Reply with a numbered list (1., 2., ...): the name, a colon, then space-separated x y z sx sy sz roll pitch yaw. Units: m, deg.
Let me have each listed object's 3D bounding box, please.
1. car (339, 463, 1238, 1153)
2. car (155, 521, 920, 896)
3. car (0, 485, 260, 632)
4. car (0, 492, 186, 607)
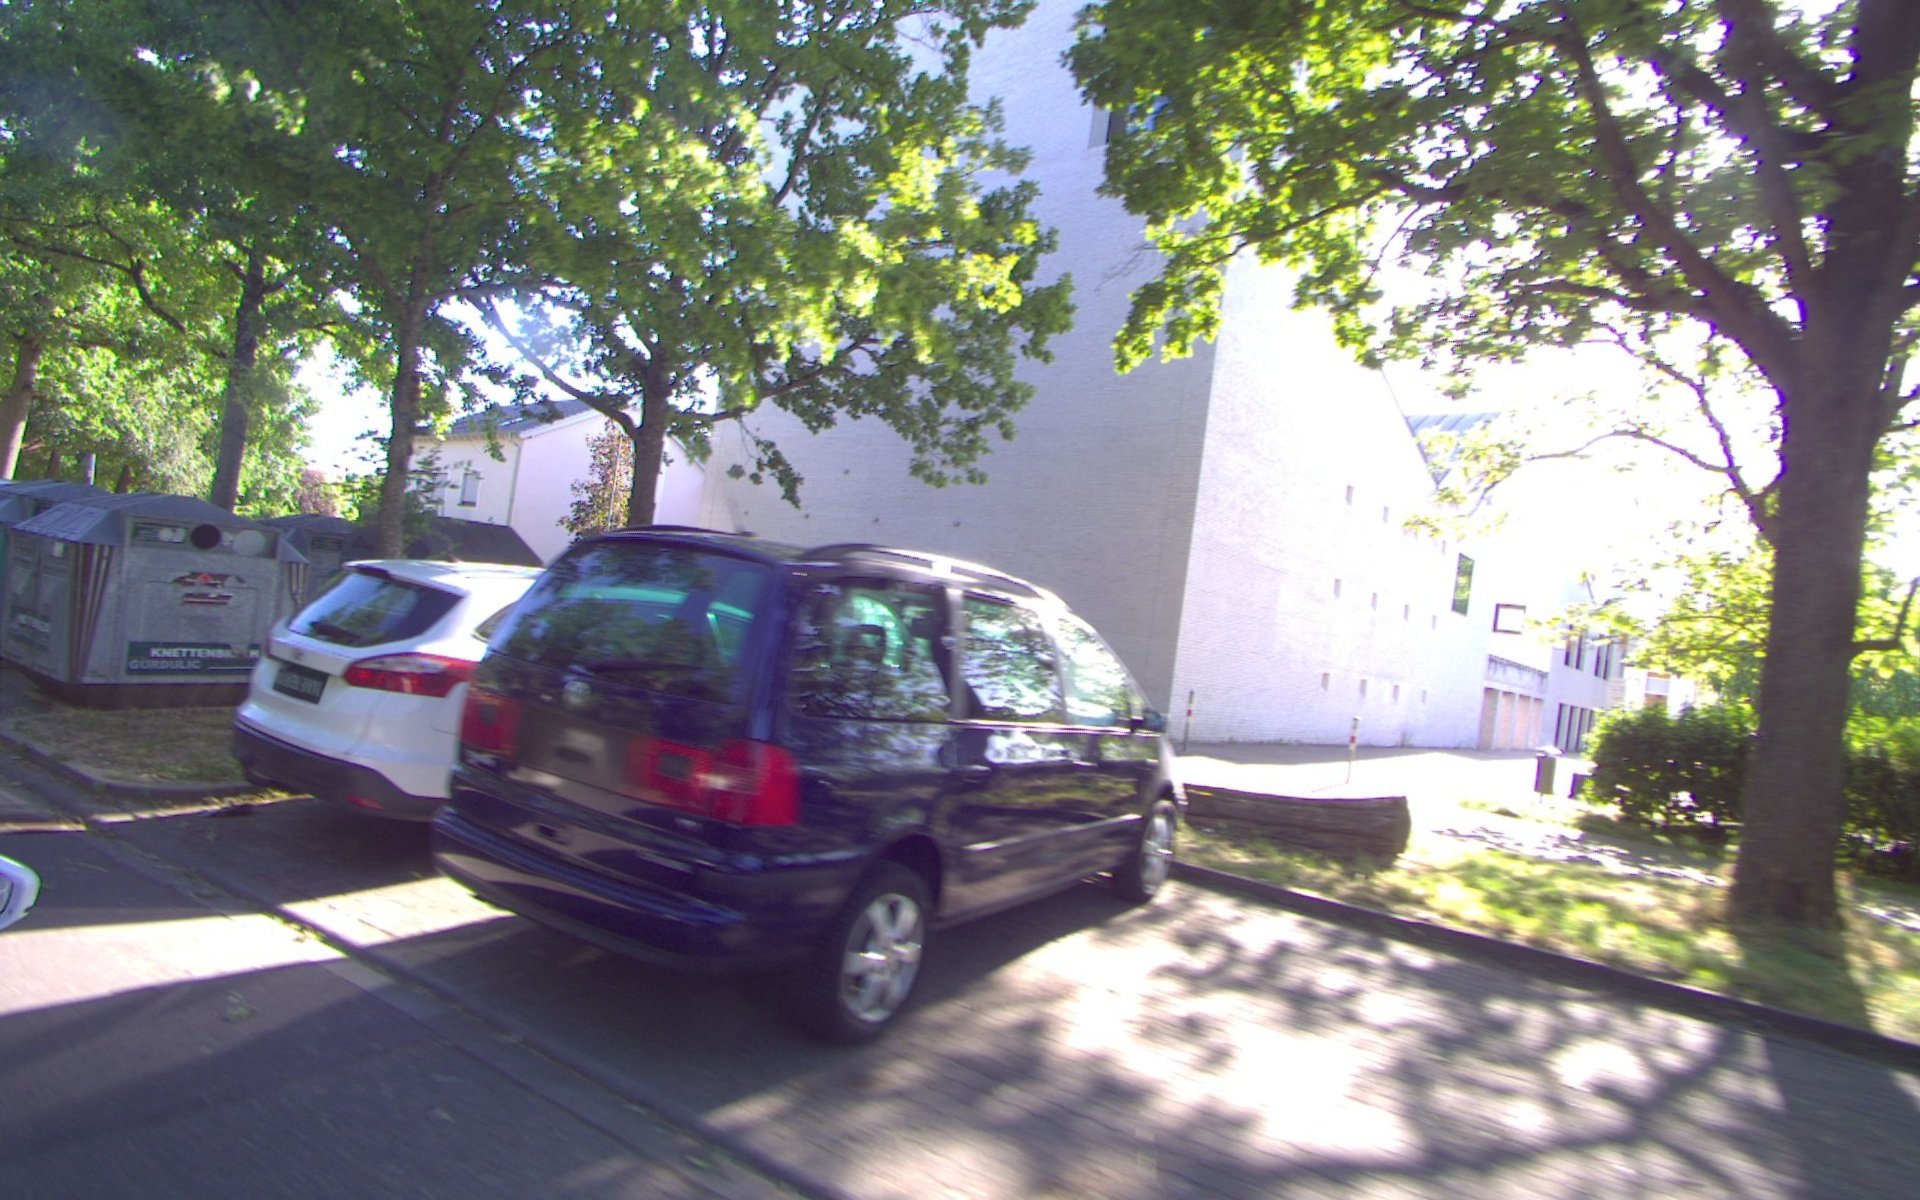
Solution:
1. car: -0.242 0.683 5.178 1.904 1.823 4.537 7 -1 31
2. car: -2.254 0.587 6.533 1.770 1.490 4.226 8 0 32
3. car: -11.947 -0.617 12.670 1.885 1.599 4.677 8 0 31
4. car: -14.461 -0.887 14.591 1.884 1.473 4.678 8 0 30
